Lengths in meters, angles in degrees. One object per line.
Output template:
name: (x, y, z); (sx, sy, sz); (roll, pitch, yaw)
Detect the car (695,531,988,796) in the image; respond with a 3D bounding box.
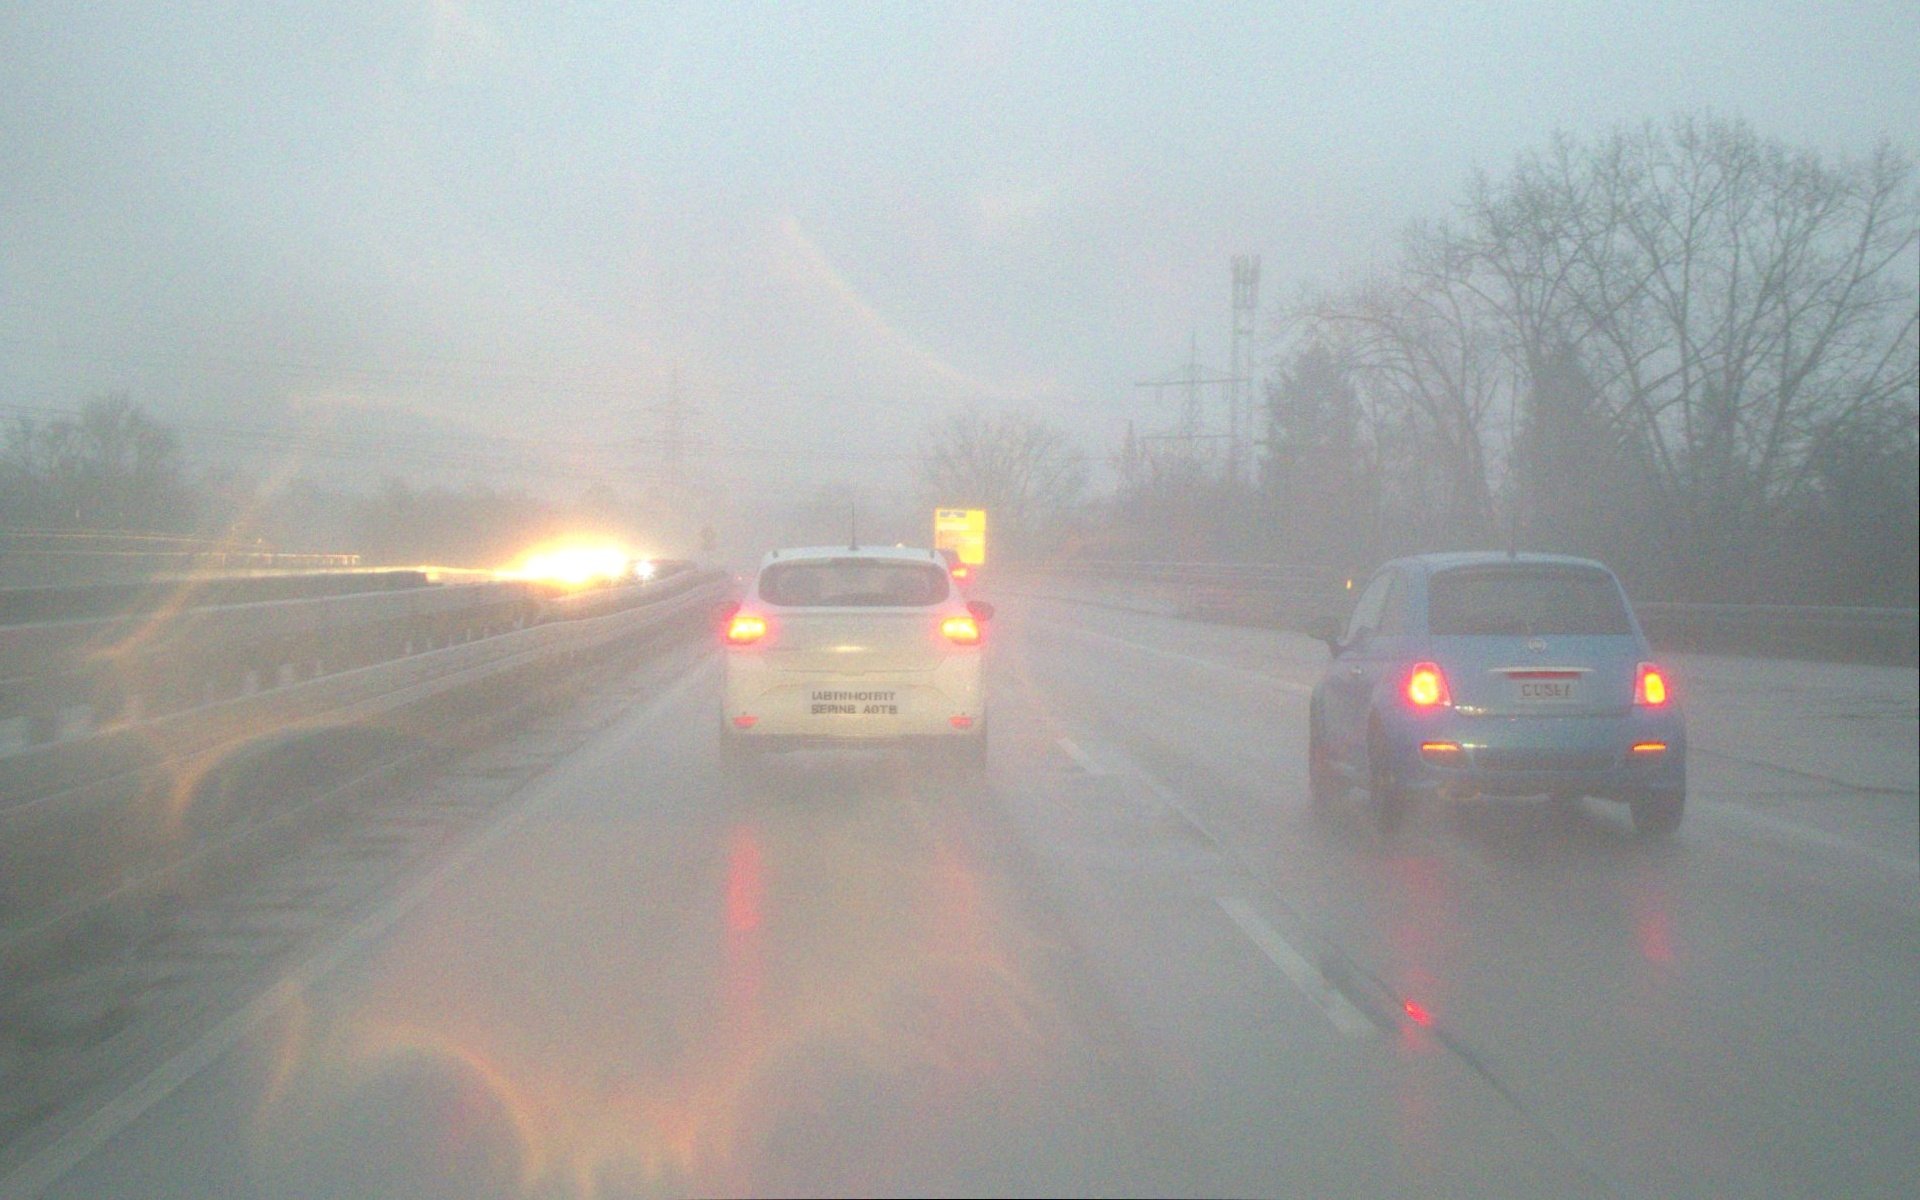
car: (-0.781, 0.369, 23.851); (1.845, 1.630, 3.768); (1, 2, -1)

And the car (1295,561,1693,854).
car: (2.997, 0.540, 20.090); (1.846, 1.448, 4.148); (1, 2, 3)
